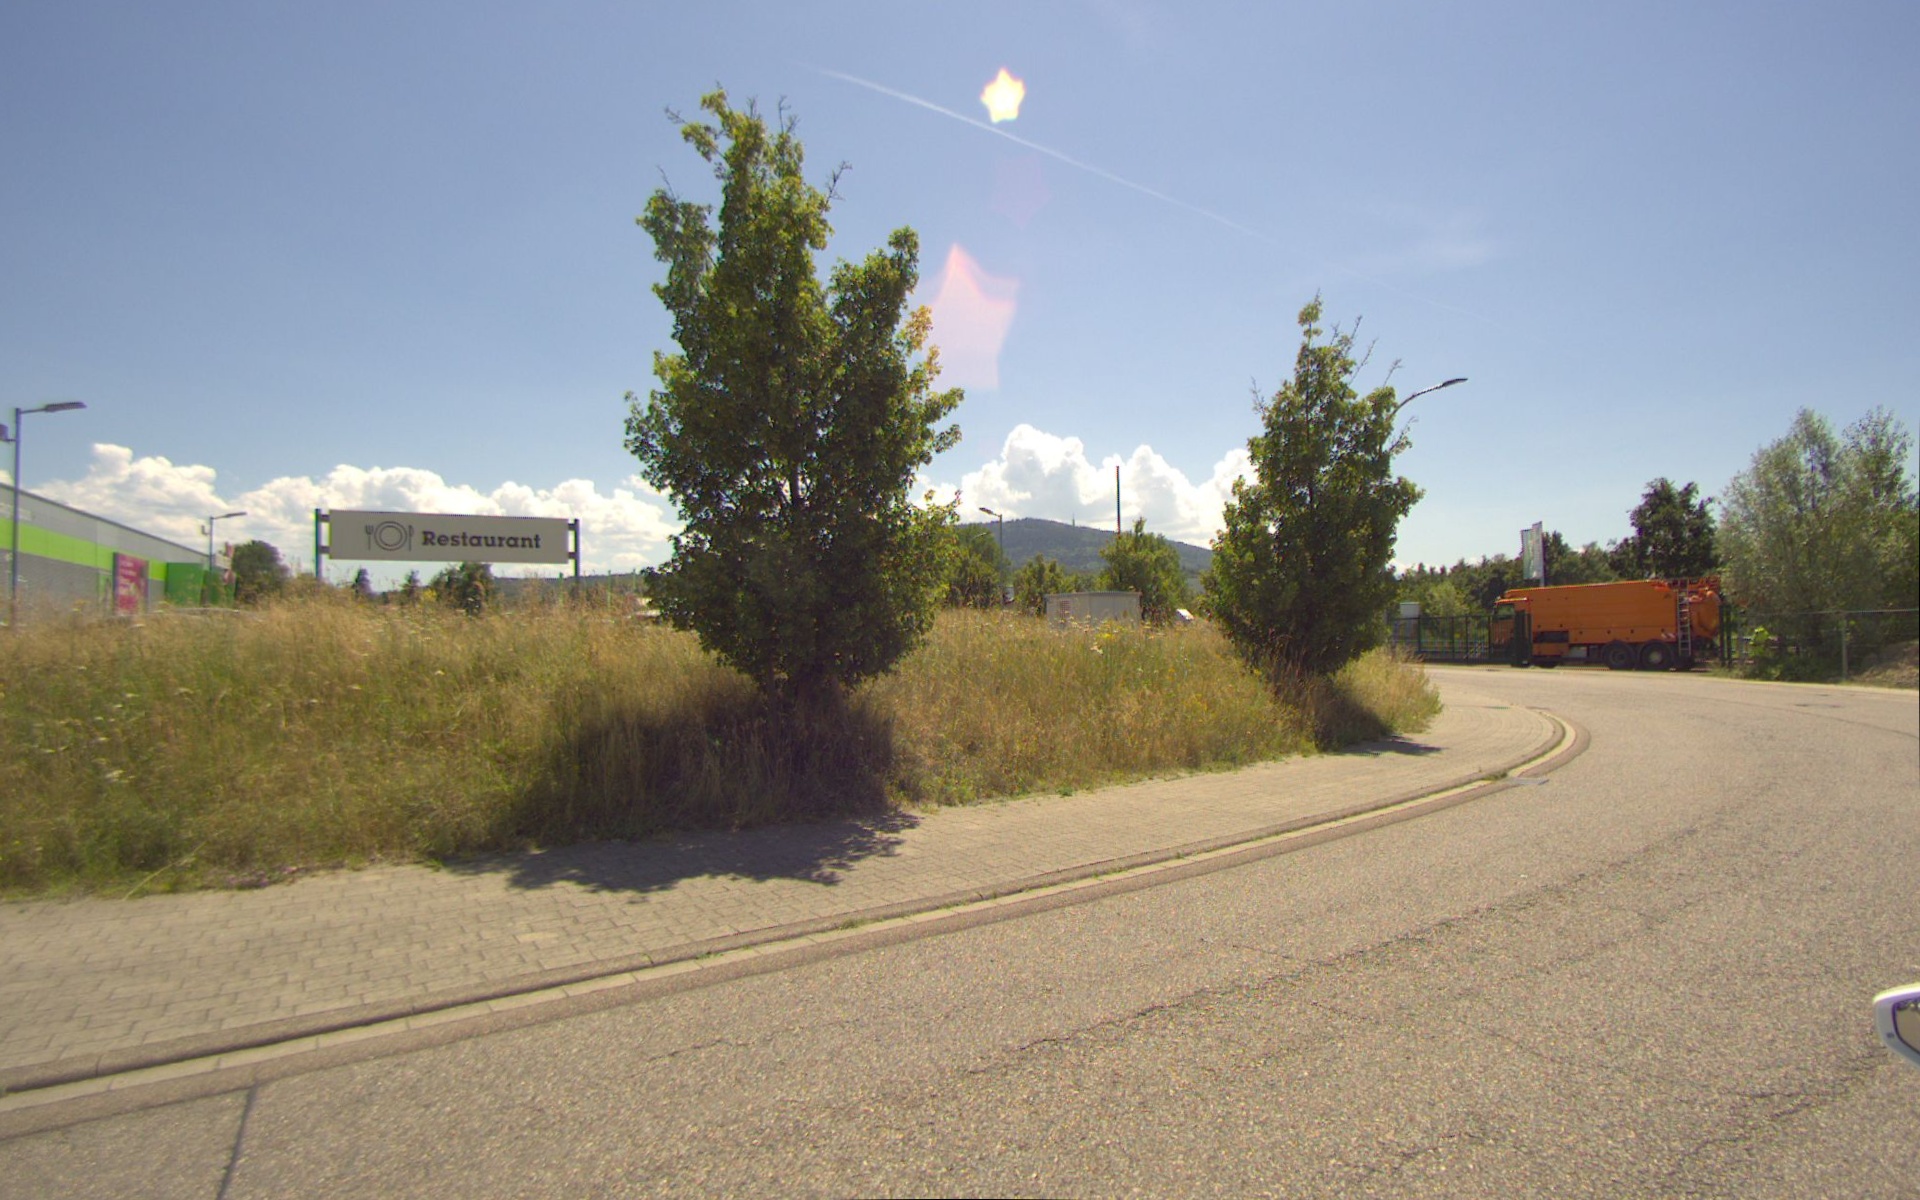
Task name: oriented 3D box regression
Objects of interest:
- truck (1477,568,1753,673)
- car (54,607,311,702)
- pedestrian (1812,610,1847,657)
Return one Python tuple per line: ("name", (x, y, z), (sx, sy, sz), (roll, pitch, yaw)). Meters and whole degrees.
("truck", (26.599, 0.939, 41.367), (4.116, 3.856, 8.544), (0, -2, -30))
("car", (-15.944, 1.066, 20.903), (3.952, 1.800, 1.985), (0, -1, -30))
("pedestrian", (35.291, 1.352, 40.776), (0.731, 1.849, 0.872), (0, -1, -29))
